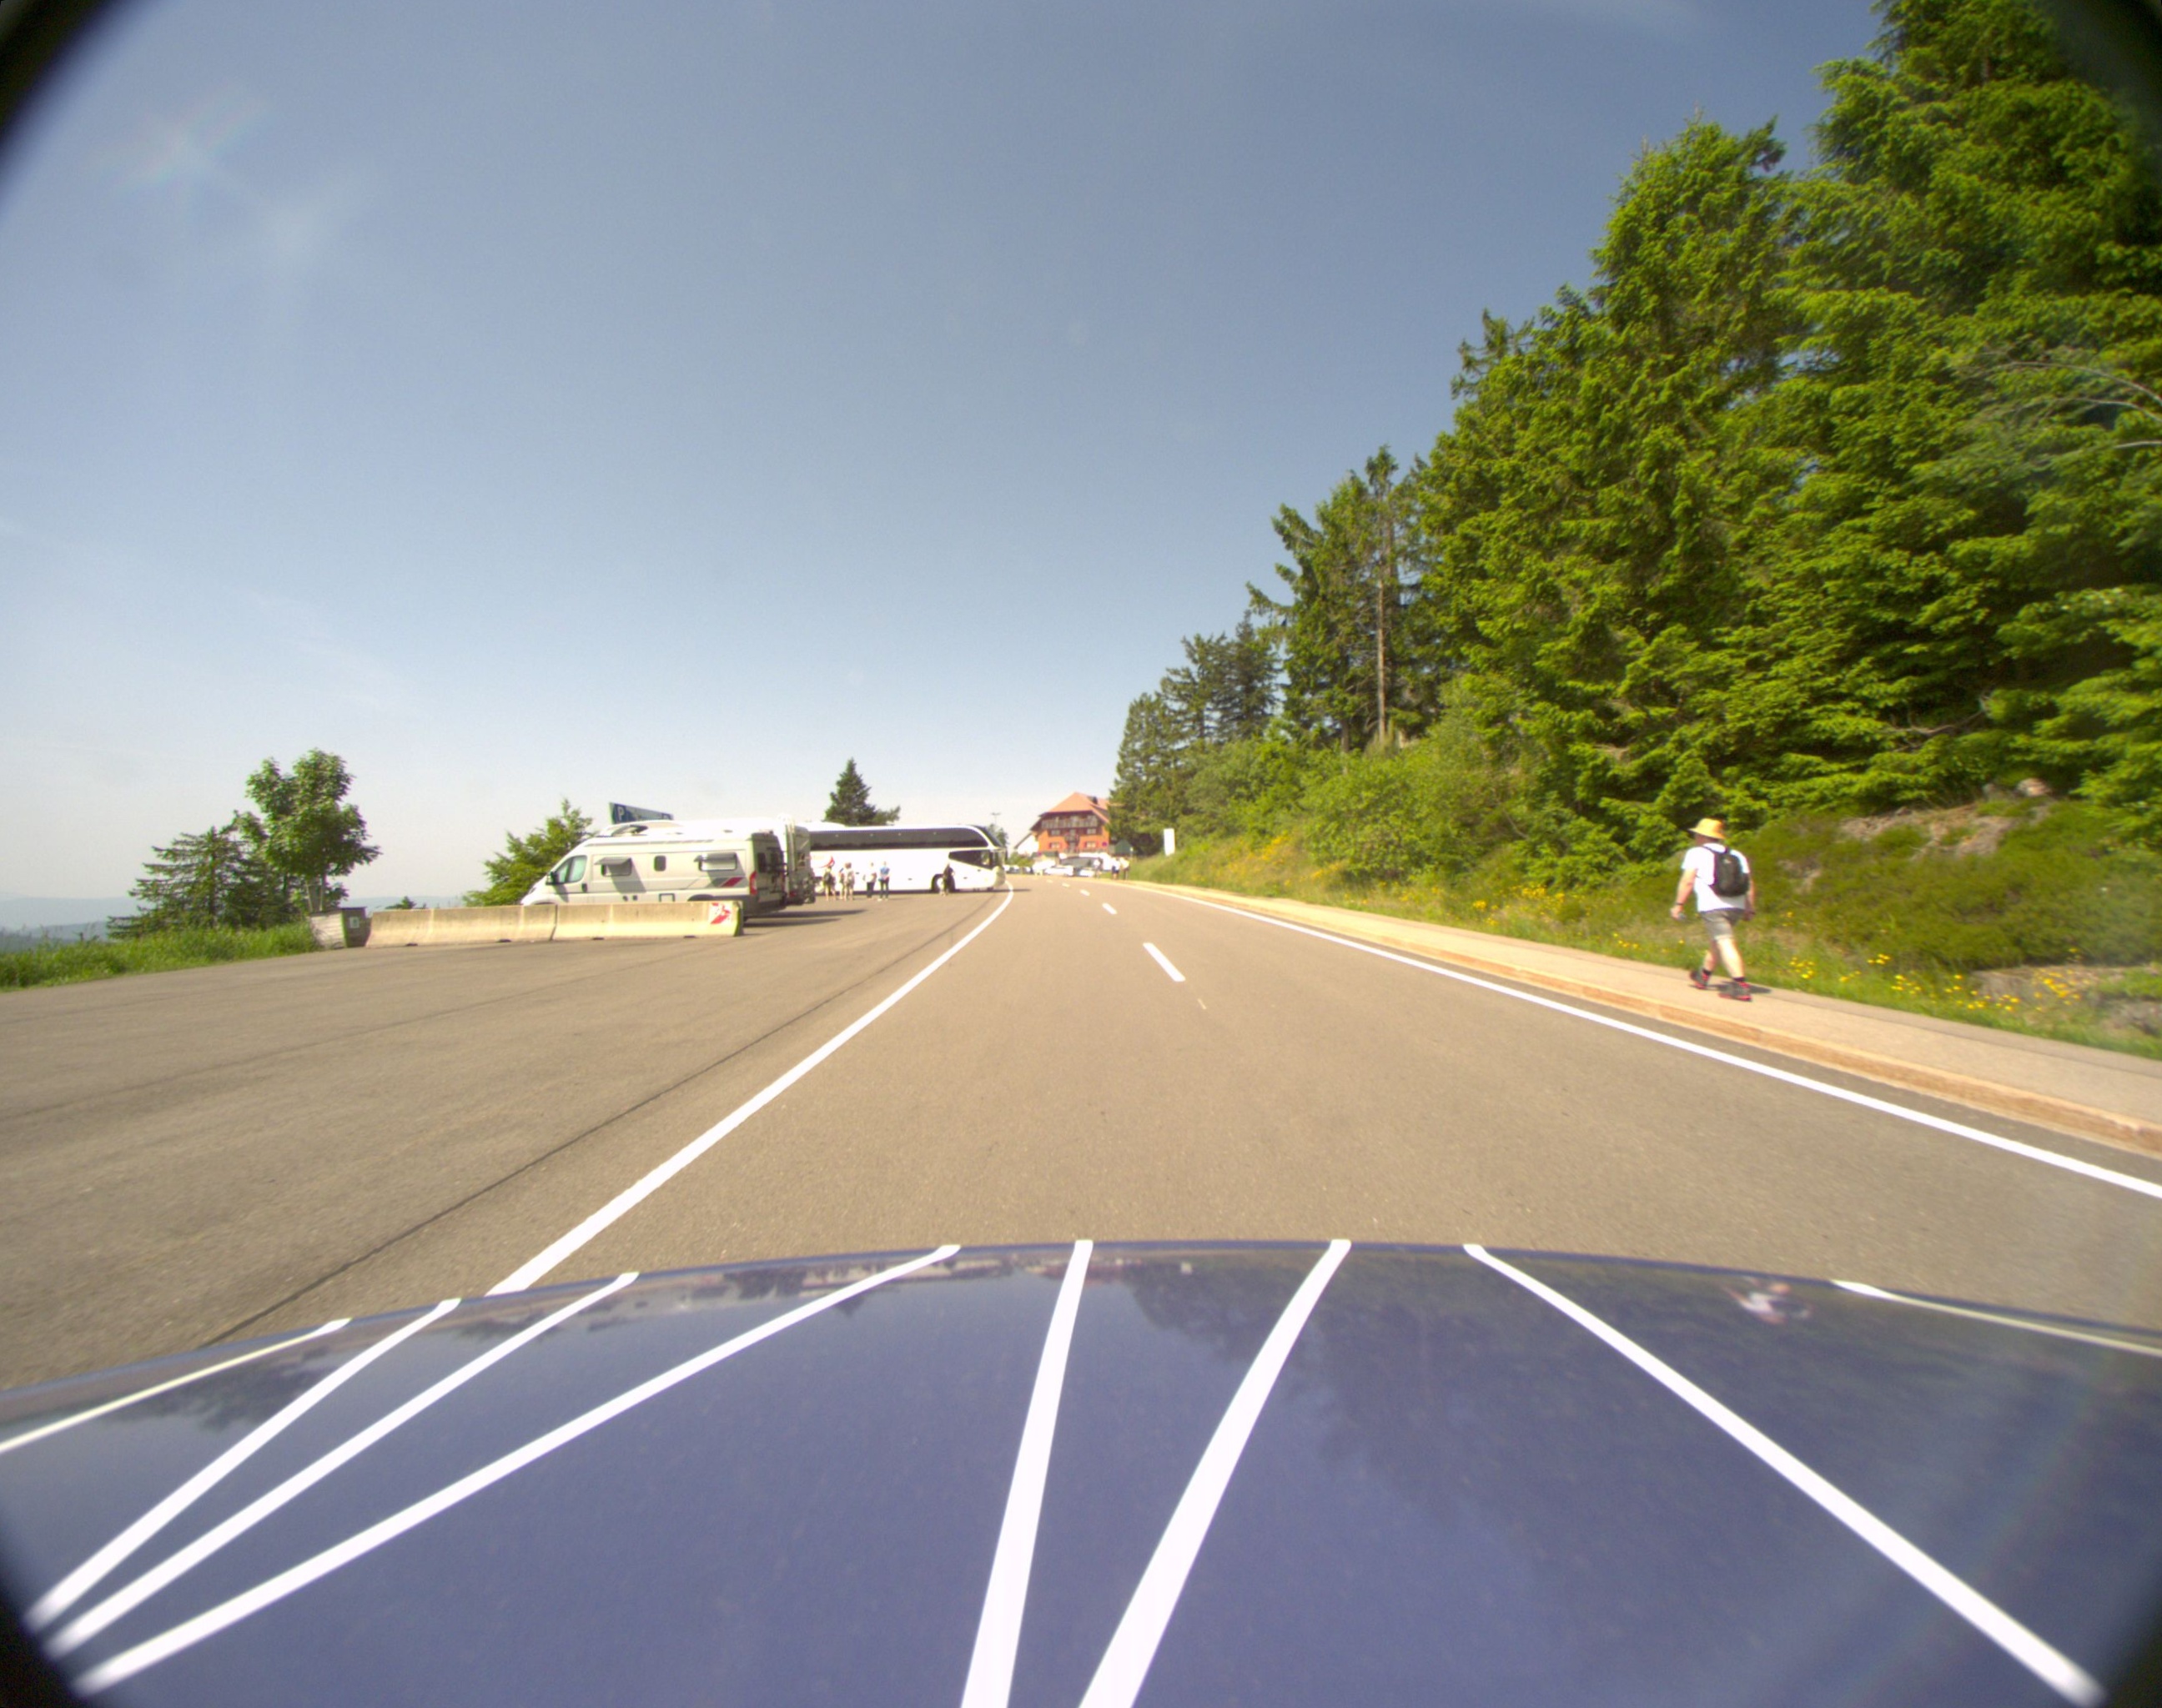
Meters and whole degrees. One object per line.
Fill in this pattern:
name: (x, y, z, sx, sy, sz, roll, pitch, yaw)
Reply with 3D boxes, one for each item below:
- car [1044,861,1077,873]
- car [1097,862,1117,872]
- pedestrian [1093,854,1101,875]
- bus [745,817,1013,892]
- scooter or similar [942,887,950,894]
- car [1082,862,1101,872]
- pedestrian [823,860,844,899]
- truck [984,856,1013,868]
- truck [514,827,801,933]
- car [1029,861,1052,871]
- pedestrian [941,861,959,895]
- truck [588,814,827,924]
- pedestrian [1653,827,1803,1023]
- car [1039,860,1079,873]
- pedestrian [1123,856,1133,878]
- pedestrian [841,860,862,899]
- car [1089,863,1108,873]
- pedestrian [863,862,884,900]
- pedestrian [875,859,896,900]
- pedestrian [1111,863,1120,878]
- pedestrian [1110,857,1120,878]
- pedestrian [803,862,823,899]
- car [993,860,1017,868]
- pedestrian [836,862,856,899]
car: (-2.722, 1.673, 99.202, 3.953, 1.578, 1.793, 0, -1, 25)
car: (3.756, 1.810, 109.202, 1.714, 1.425, 3.322, 0, -1, 26)
pedestrian: (1.332, 0.883, 63.480, 0.581, 1.731, 0.686, 0, 0, -14)
bus: (-10.091, 0.053, 38.845, 12.879, 3.556, 2.839, -1, 0, 0)
scooter or similar: (-6.391, 1.734, 35.994, 0.285, 0.309, 0.327, -1, 0, 8)
car: (1.688, 2.015, 117.915, 1.710, 1.543, 3.141, 0, 0, 29)
pedestrian: (-10.931, 1.120, 33.515, 0.631, 1.687, 0.628, -1, 0, 13)
truck: (-19.241, 1.877, 178.199, 2.863, 2.813, 8.775, -1, 0, 22)
truck: (-11.039, 0.657, 20.209, 6.277, 2.575, 2.340, -1, 0, -1)
car: (-6.577, 1.989, 122.148, 3.325, 1.583, 1.720, 0, -1, 32)
pedestrian: (-6.087, 1.114, 35.338, 0.631, 1.557, 0.628, -1, 0, 13)
truck: (-11.337, 0.435, 23.512, 6.080, 3.177, 2.532, -1, 0, -2)
pedestrian: (6.083, 0.630, 7.188, 0.684, 1.736, 0.825, -1, 1, -4)
car: (-3.141, 1.774, 108.047, 5.352, 1.858, 2.003, 0, -1, 20)
pedestrian: (3.469, 0.978, 55.890, 0.578, 1.633, 0.894, 0, 0, -5)
pedestrian: (-10.057, 1.111, 33.282, 0.631, 1.688, 0.628, -1, 0, 13)
car: (2.687, 2.115, 115.023, 1.637, 1.425, 3.322, -1, -2, 26)
pedestrian: (-9.008, 1.155, 32.998, 0.630, 1.641, 0.629, -1, 0, 23)
pedestrian: (-8.372, 1.075, 32.600, 0.631, 1.747, 0.628, -1, 0, 13)
pedestrian: (2.452, 1.183, 53.981, 0.570, 1.095, 0.744, 0, 0, -5)
pedestrian: (2.467, 0.973, 55.367, 0.582, 1.528, 0.879, 0, 0, -8)
pedestrian: (-12.597, 1.245, 35.690, 0.631, 1.687, 0.628, -1, 0, 13)
car: (-17.043, 2.237, 170.363, 5.254, 1.894, 1.999, 0, 0, -6)
pedestrian: (-10.658, 1.206, 34.493, 0.631, 1.669, 0.628, -1, 0, 13)
